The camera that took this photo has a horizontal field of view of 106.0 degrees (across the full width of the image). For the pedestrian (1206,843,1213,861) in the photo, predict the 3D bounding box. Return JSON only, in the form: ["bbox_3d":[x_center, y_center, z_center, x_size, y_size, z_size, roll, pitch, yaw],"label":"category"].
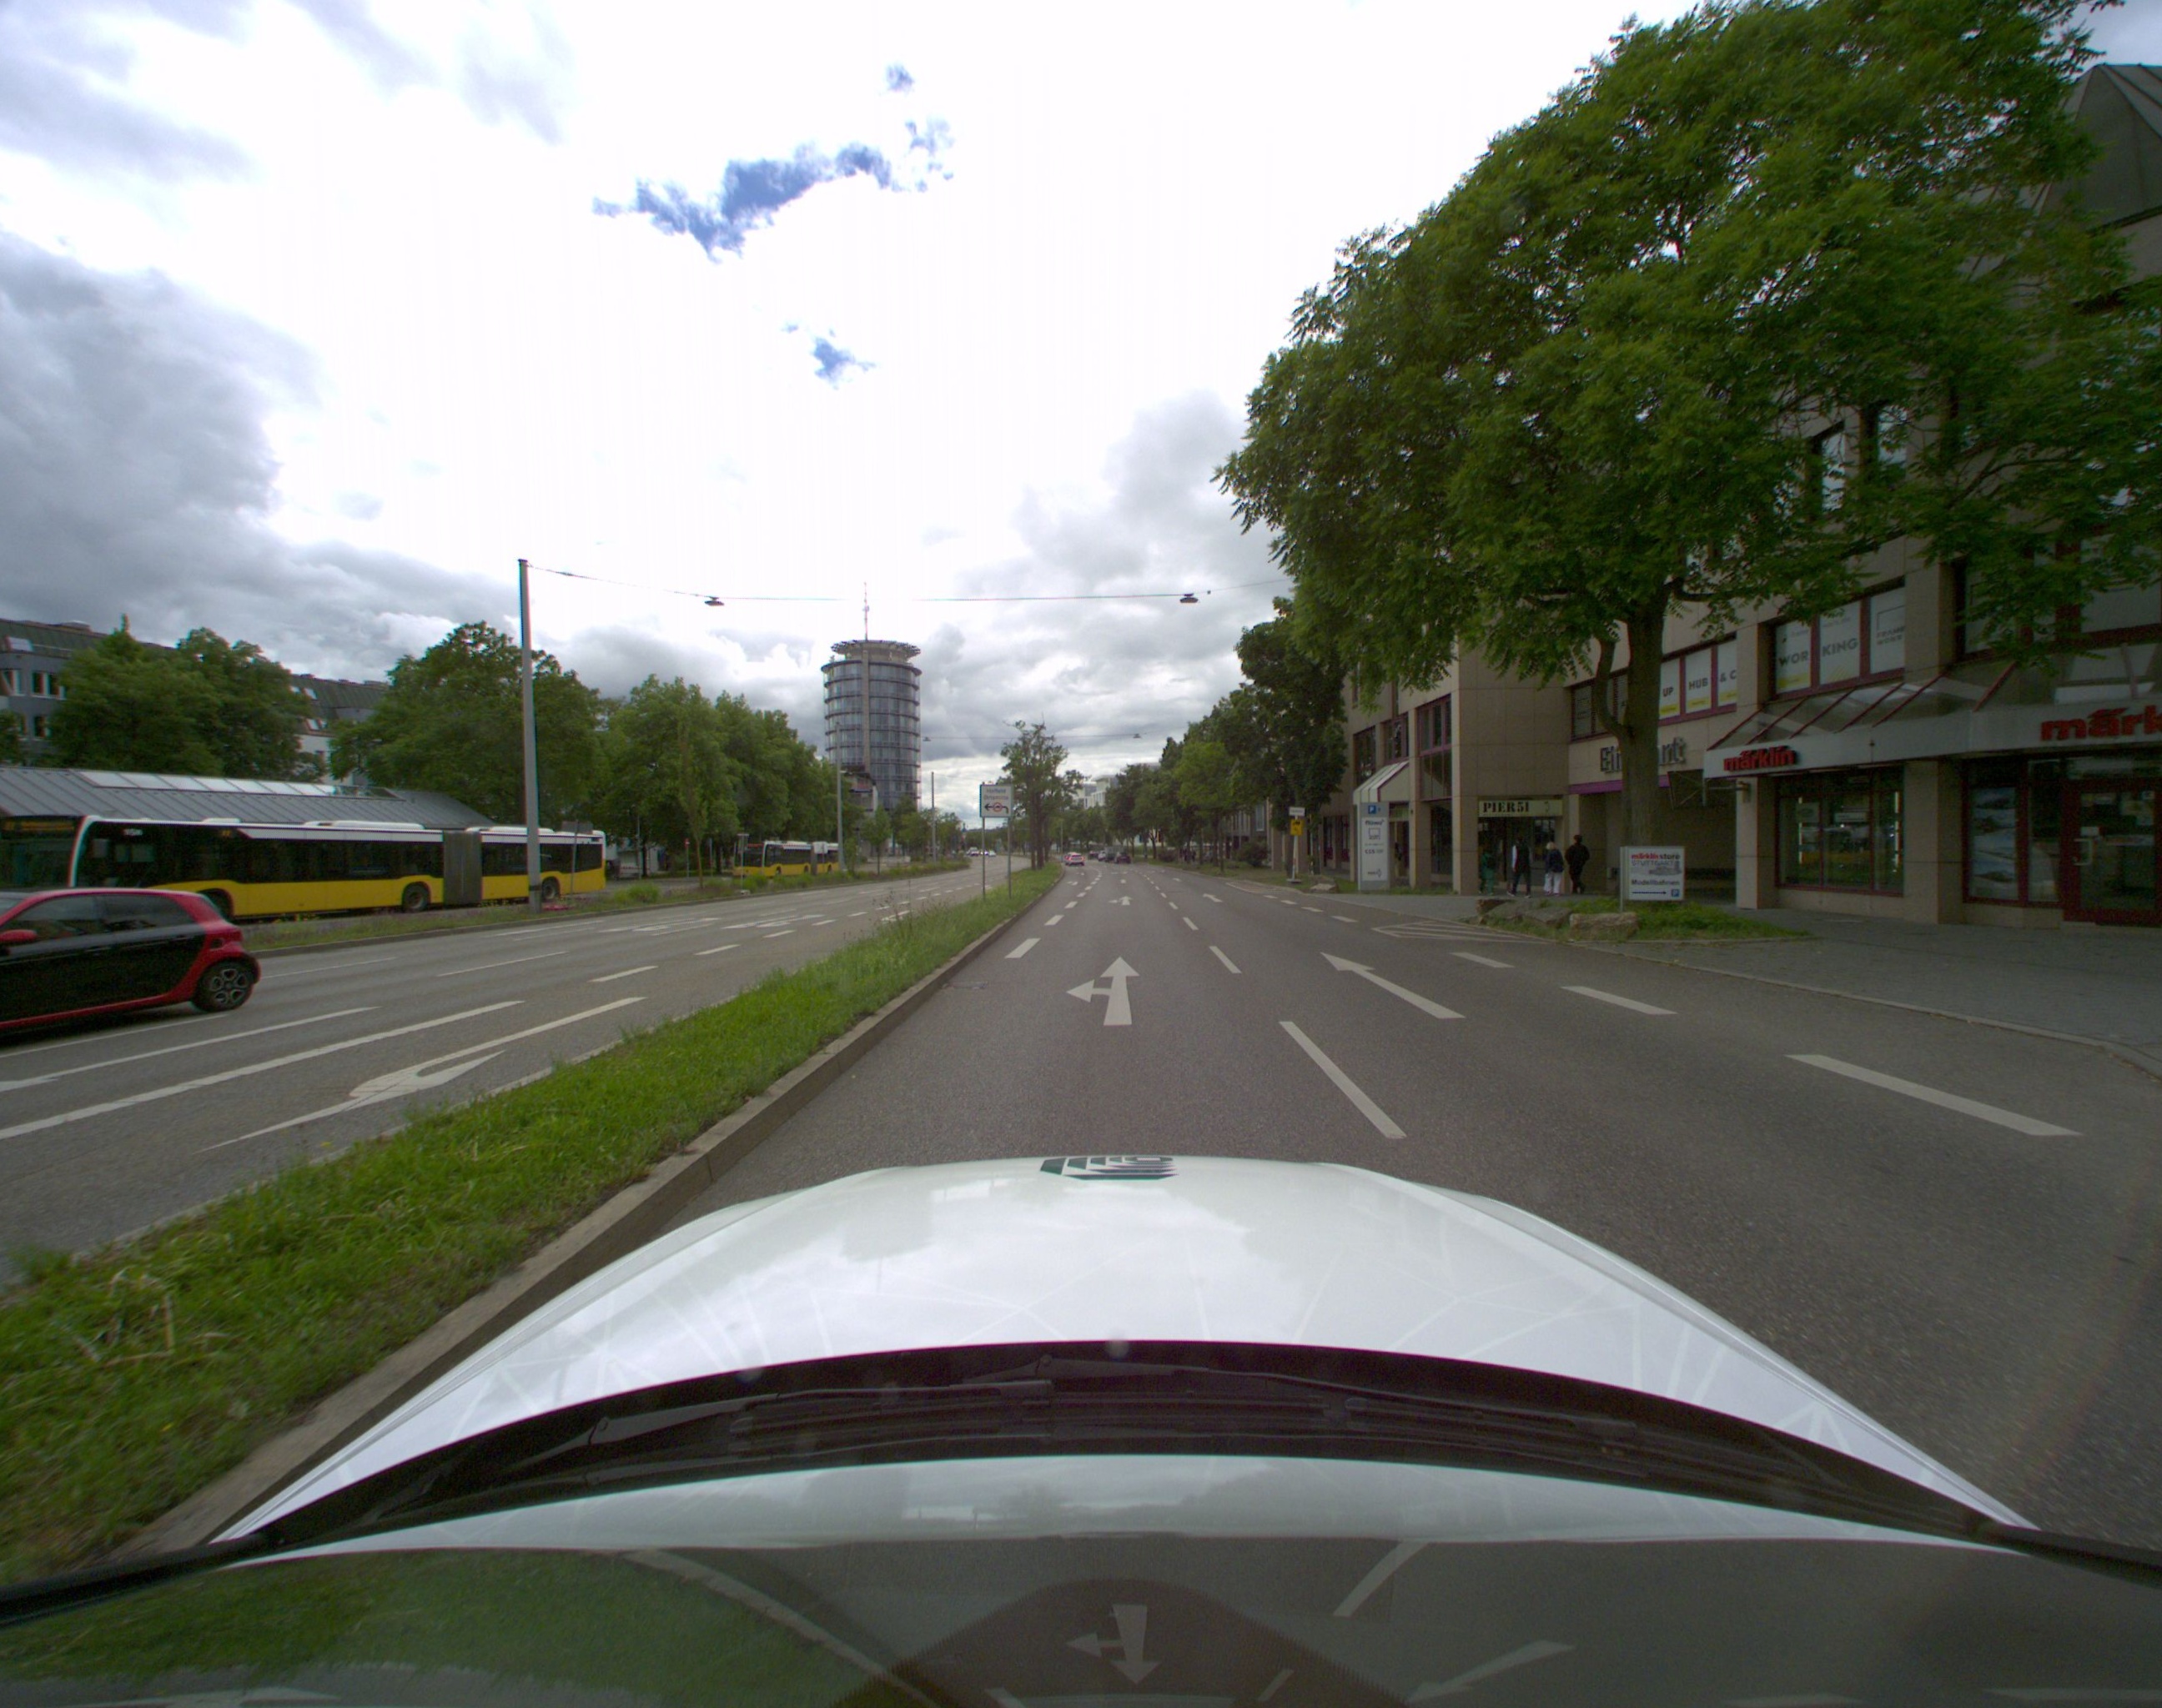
[{"bbox_3d":[12.286,-0.218,77.854,0.565,1.700,0.830,-1,0,2],"label":"pedestrian"}]

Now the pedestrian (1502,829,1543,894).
[{"bbox_3d":[12.782,0.218,23.614,0.655,1.826,0.843,-3,0,2],"label":"pedestrian"}]

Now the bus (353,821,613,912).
[{"bbox_3d":[-23.589,0.412,33.101,2.794,3.132,9.319,1,0,7],"label":"bus"}]

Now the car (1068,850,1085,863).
[{"bbox_3d":[-0.516,0.341,97.425,1.857,1.449,4.000,-2,0,0],"label":"car"}]

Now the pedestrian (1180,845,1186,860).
[{"bbox_3d":[12.946,-0.201,103.581,0.607,1.775,0.953,-2,2,-2],"label":"pedestrian"}]

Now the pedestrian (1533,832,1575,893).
[{"bbox_3d":[13.639,0.238,23.482,0.655,1.691,0.843,-3,0,2],"label":"pedestrian"}]

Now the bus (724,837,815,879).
[{"bbox_3d":[-25.208,0.297,66.750,3.072,3.162,10.741,0,0,1],"label":"bus"}]

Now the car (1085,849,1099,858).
[{"bbox_3d":[1.858,-0.060,138.512,1.990,1.490,3.993,-1,0,-5],"label":"car"}]

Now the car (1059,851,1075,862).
[{"bbox_3d":[-2.100,0.354,124.212,1.985,1.508,4.004,-1,0,3],"label":"car"}]

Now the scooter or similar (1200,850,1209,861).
[{"bbox_3d":[11.643,0.140,76.779,0.583,0.993,0.845,-3,0,-5],"label":"scooter or similar"}]

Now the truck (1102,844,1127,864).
[{"bbox_3d":[4.527,0.011,110.710,2.851,2.519,6.283,-2,0,-2],"label":"truck"}]

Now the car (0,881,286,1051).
[{"bbox_3d":[-10.958,1.111,8.482,1.653,1.508,3.767,-2,0,-1],"label":"car"}]

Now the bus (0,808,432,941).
[{"bbox_3d":[-24.636,0.439,23.975,2.762,3.132,9.454,0,0,6],"label":"bus"}]

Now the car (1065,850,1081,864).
[{"bbox_3d":[-1.011,0.356,104.976,1.988,1.672,3.998,-2,0,-1],"label":"car"}]

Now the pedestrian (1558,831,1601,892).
[{"bbox_3d":[14.398,0.221,23.535,0.655,1.691,0.843,-3,0,2],"label":"pedestrian"}]

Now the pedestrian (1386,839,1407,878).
[{"bbox_3d":[14.312,0.205,36.918,0.592,1.705,0.970,-2,0,3],"label":"pedestrian"}]

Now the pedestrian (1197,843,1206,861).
[{"bbox_3d":[11.531,-0.174,77.675,0.554,1.652,0.960,-3,0,-5],"label":"pedestrian"}]

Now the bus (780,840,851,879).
[{"bbox_3d":[-24.899,0.478,77.064,3.019,3.455,9.917,0,0,3],"label":"bus"}]

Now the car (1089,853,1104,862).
[{"bbox_3d":[2.660,0.560,138.801,1.992,1.508,3.989,-1,0,-8],"label":"car"}]

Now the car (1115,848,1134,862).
[{"bbox_3d":[5.329,0.132,99.866,1.989,1.596,3.997,-1,0,-2],"label":"car"}]

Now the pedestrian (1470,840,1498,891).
[{"bbox_3d":[12.539,0.352,25.345,0.559,1.550,0.544,-3,0,2],"label":"pedestrian"}]

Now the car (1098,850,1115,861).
[{"bbox_3d":[3.727,0.177,119.359,1.990,1.508,3.993,-2,0,-5],"label":"car"}]
